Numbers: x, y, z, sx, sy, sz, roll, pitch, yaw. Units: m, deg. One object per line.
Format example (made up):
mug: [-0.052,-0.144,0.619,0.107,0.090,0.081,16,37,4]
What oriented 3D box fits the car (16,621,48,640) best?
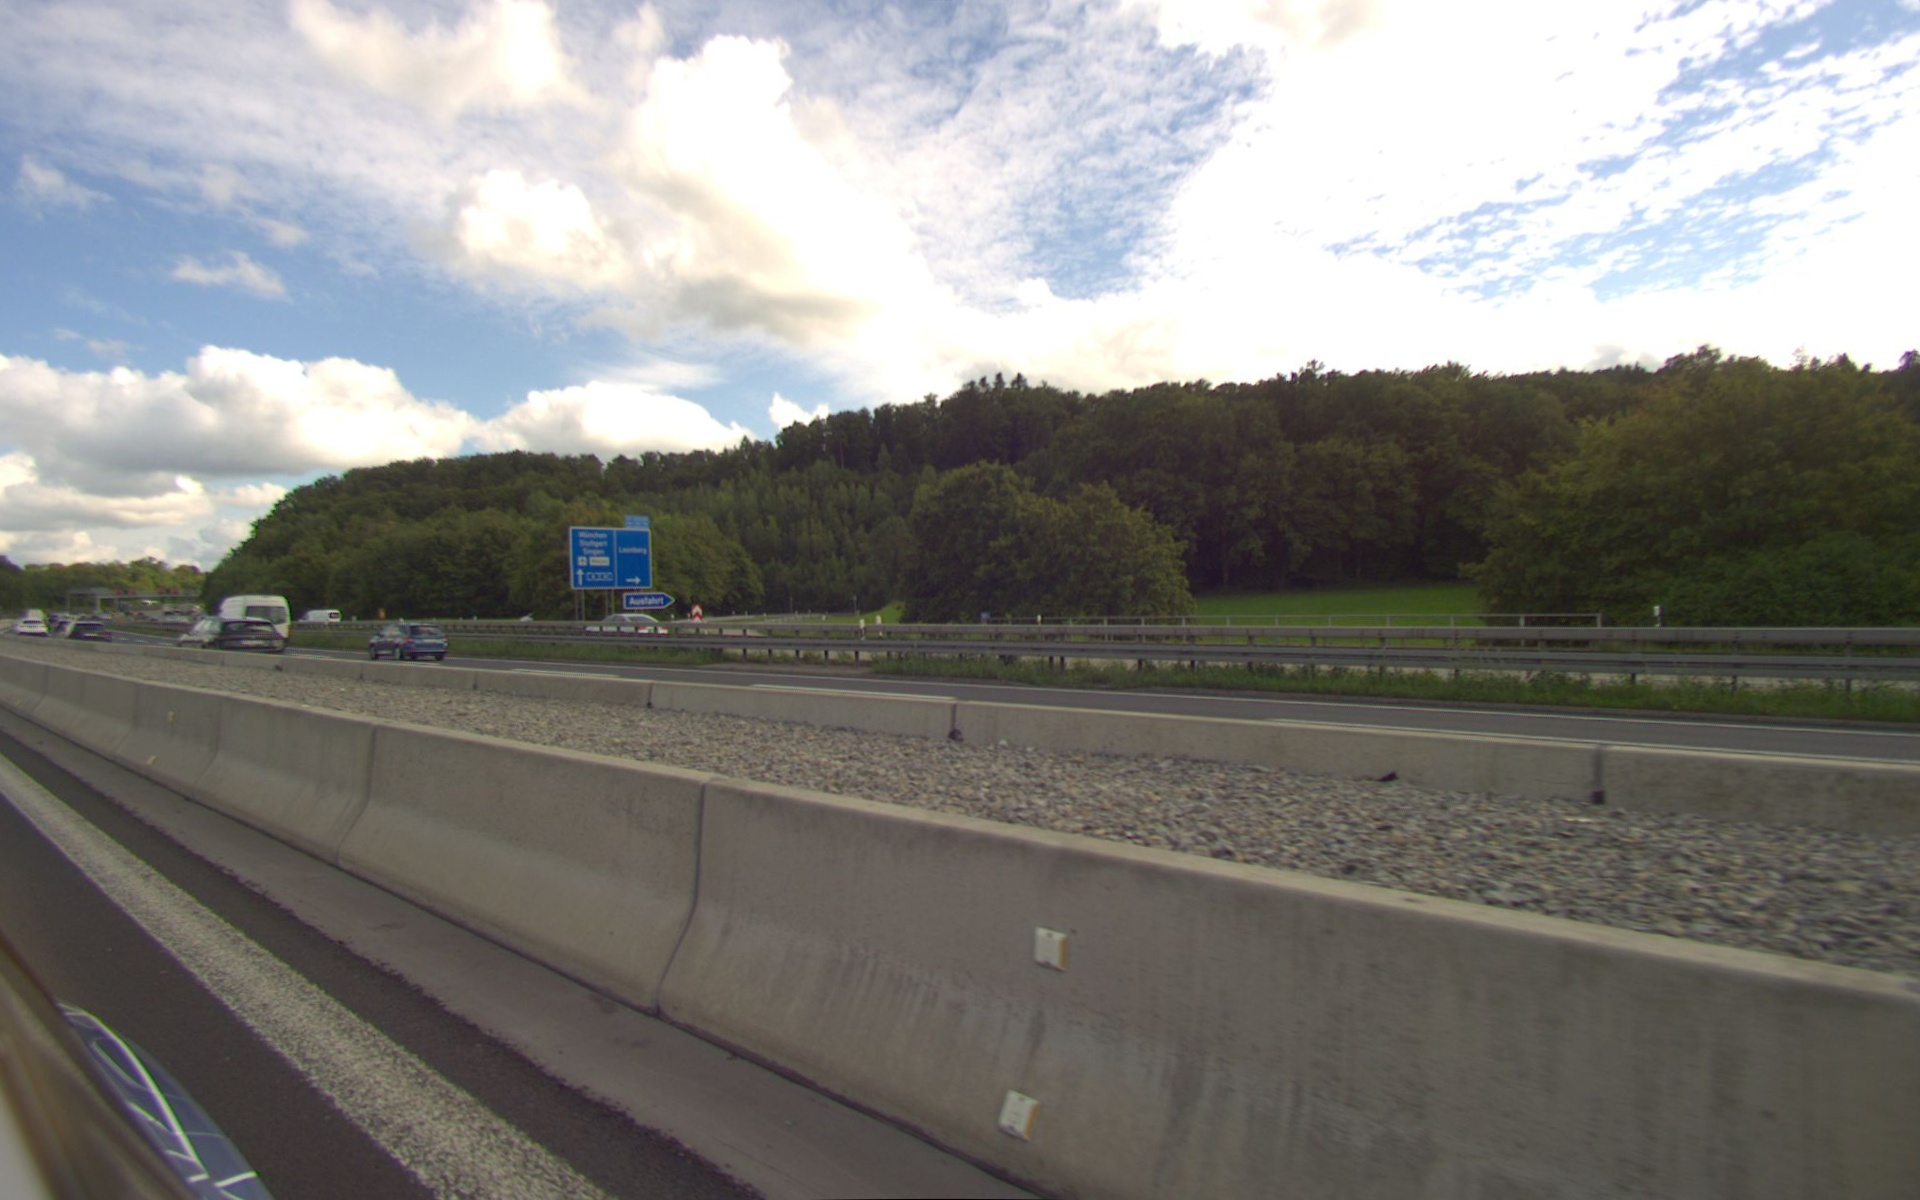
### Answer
car: [-74.433,2.445,81.151,1.731,1.464,3.938,0,-1,-45]

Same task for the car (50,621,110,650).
car: [-46.218,1.826,53.142,4.424,1.432,1.844,-1,-1,42]

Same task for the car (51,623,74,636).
car: [-106.776,3.460,120.425,1.871,1.464,3.943,0,-1,-40]

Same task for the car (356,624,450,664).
car: [-21.375,1.648,38.783,4.204,1.432,1.732,-1,-1,39]

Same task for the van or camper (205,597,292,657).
van or camper: [-32.303,1.200,45.897,5.421,2.554,2.078,-1,-1,42]

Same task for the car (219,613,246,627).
car: [-103.995,2.875,144.690,3.992,2.029,1.976,-1,-1,36]

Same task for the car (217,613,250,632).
car: [-72.547,2.233,101.057,3.999,1.785,1.972,-1,-1,42]

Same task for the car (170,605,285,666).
car: [-21.272,0.980,29.324,4.839,1.642,1.731,-1,-1,42]

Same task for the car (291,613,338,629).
car: [-84.519,2.700,132.590,5.094,2.029,1.996,-1,-1,7]

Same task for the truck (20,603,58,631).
truck: [-150.838,2.743,165.873,3.552,4.364,8.552,0,-1,-35]

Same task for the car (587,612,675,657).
car: [-14.216,1.445,43.640,4.001,1.852,1.971,-1,-1,43]
